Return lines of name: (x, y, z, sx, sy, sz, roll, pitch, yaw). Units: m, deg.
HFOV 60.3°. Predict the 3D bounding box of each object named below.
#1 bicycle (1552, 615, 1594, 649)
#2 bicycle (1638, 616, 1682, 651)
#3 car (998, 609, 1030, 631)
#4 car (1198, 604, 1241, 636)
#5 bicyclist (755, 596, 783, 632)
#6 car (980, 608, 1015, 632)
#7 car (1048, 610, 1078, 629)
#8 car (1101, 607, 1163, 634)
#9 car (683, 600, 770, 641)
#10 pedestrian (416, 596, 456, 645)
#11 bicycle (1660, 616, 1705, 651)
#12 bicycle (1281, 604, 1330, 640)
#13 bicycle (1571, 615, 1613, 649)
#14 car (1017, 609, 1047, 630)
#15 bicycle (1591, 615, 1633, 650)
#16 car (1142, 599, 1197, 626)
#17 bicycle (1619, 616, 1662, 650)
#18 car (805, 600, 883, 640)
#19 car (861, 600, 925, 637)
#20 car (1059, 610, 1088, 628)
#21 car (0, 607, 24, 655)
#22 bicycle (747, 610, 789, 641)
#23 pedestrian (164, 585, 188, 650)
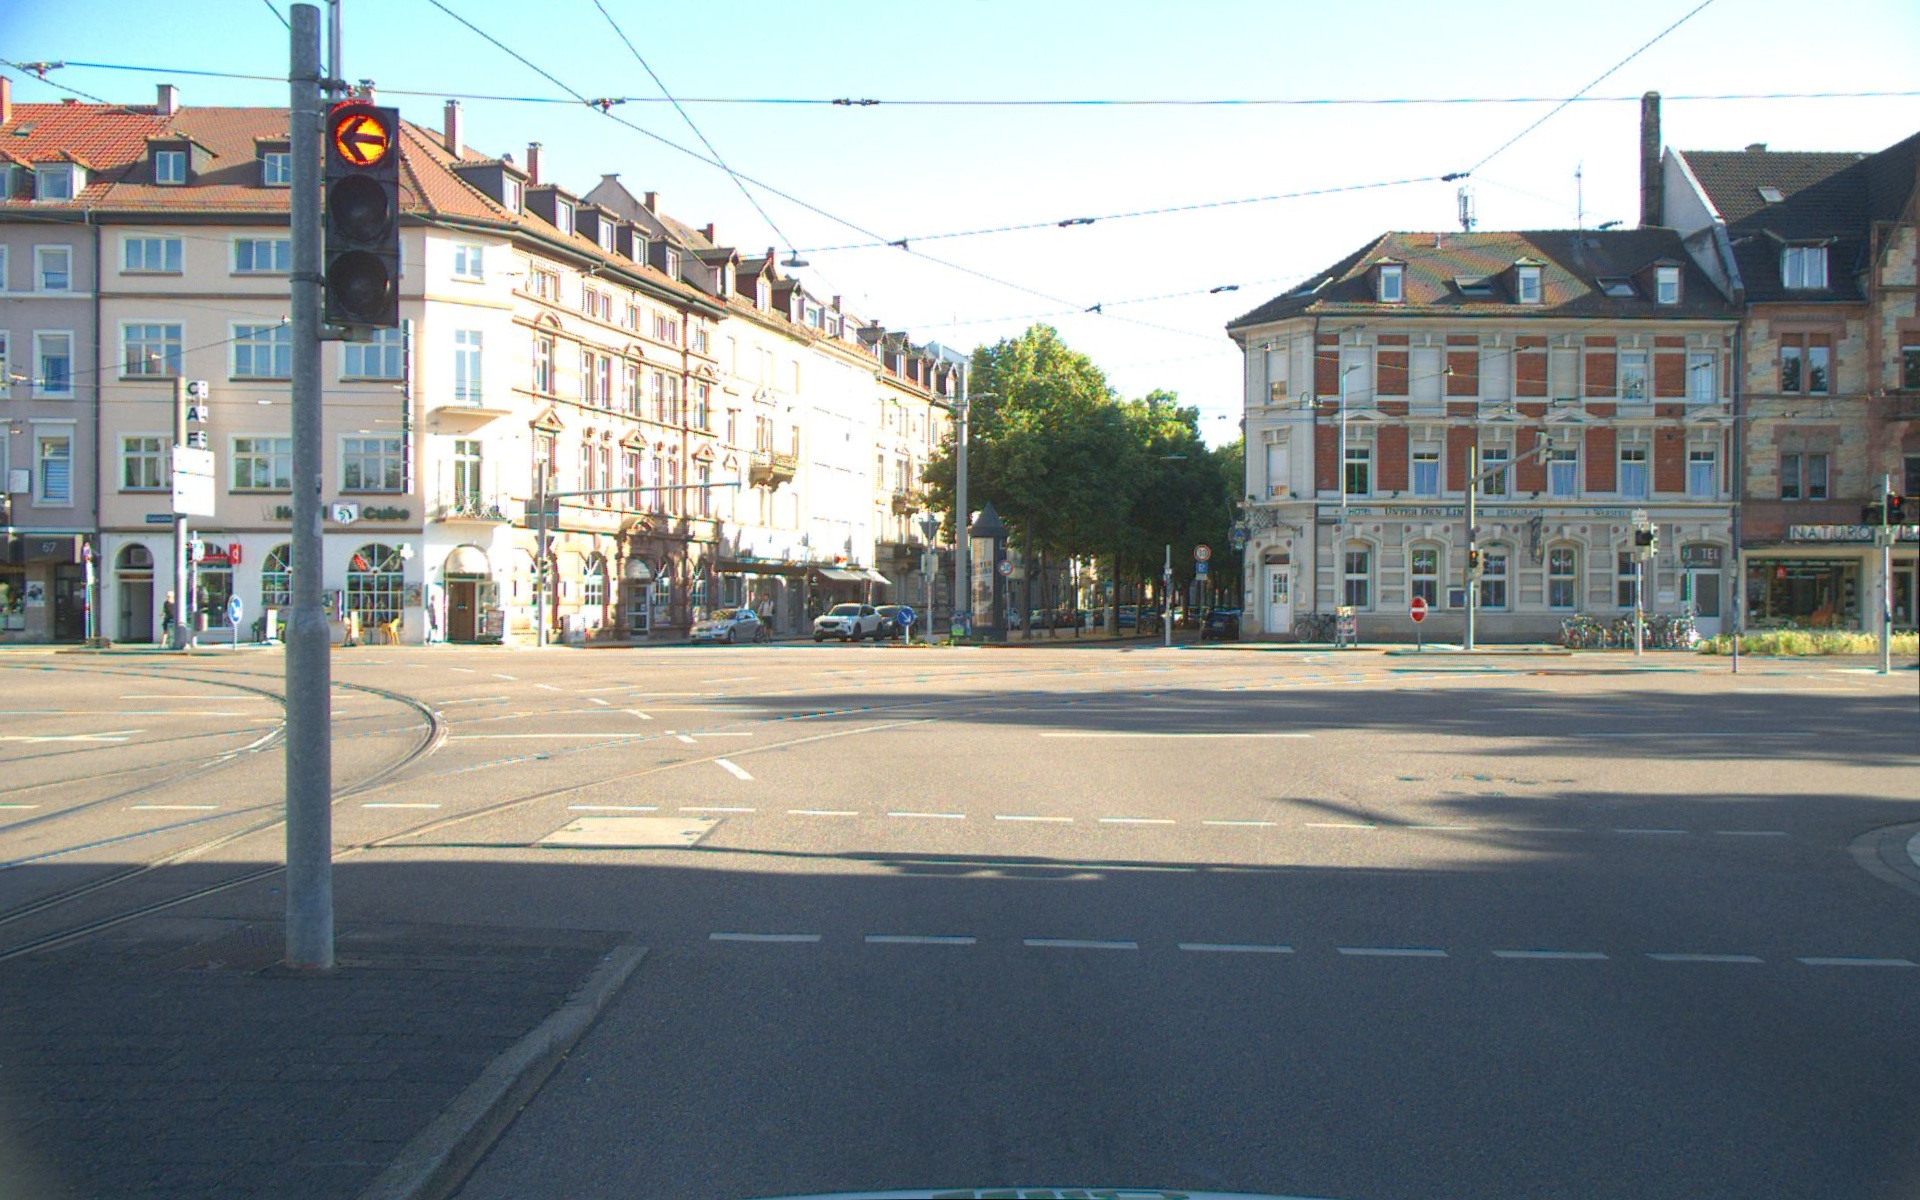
bicycle: (19.826, 1.020, 53.520, 0.593, 1.069, 1.641, 0, 0, -6)
bicycle: (22.605, 1.067, 53.410, 0.593, 1.069, 1.641, 0, 0, -6)
car: (3.804, 1.357, 115.848, 1.704, 1.422, 4.127, 3, 0, 9)
car: (12.975, 1.000, 82.474, 1.616, 1.551, 3.755, 0, -1, 17)
bicyclist: (-7.558, 0.544, 65.472, 0.776, 1.399, 1.109, 0, 0, 14)
car: (2.527, 1.311, 110.024, 1.704, 1.422, 4.127, 3, 0, 9)
car: (8.244, 1.538, 131.715, 1.704, 1.422, 4.127, 3, 0, 13)
car: (12.005, 1.401, 115.392, 4.023, 1.675, 1.748, 3, 0, 15)
car: (-9.449, 0.813, 67.228, 2.052, 1.572, 4.367, 0, 0, 13)
pedestrian: (-17.559, 0.683, 55.423, 1.056, 1.618, 1.030, 0, 0, -35)
bicycle: (23.331, 1.080, 53.431, 0.593, 1.069, 1.641, 0, 0, -6)
bicycle: (11.977, 0.760, 57.310, 1.603, 1.243, 0.607, 0, 0, 16)
bicycle: (20.467, 1.031, 53.576, 0.593, 1.069, 1.641, 0, 0, -6)
car: (5.335, 1.414, 122.848, 1.704, 1.422, 4.127, 3, 0, 9)
bicycle: (21.119, 1.042, 53.602, 0.593, 1.069, 1.641, 0, 0, -6)
car: (16.958, 1.012, 133.673, 4.026, 1.952, 1.746, 3, 0, 21)
bicycle: (21.945, 1.055, 53.334, 0.593, 1.069, 1.641, 0, 0, -6)
car: (-4.650, 0.790, 67.087, 2.052, 1.525, 4.003, 0, 0, 13)
car: (-2.958, 0.797, 73.480, 1.951, 1.540, 4.004, 0, 0, 11)
car: (9.422, 1.574, 136.510, 1.704, 1.422, 4.127, 3, 0, 13)
car: (-32.062, 1.002, 52.162, 3.910, 1.489, 1.998, -1, 1, -6)
bicycle: (-7.573, 0.995, 65.502, 0.734, 1.155, 2.812, 0, 0, 14)
pedestrian: (-24.665, 0.542, 52.042, 0.498, 2.049, 0.505, 0, 0, 2)
